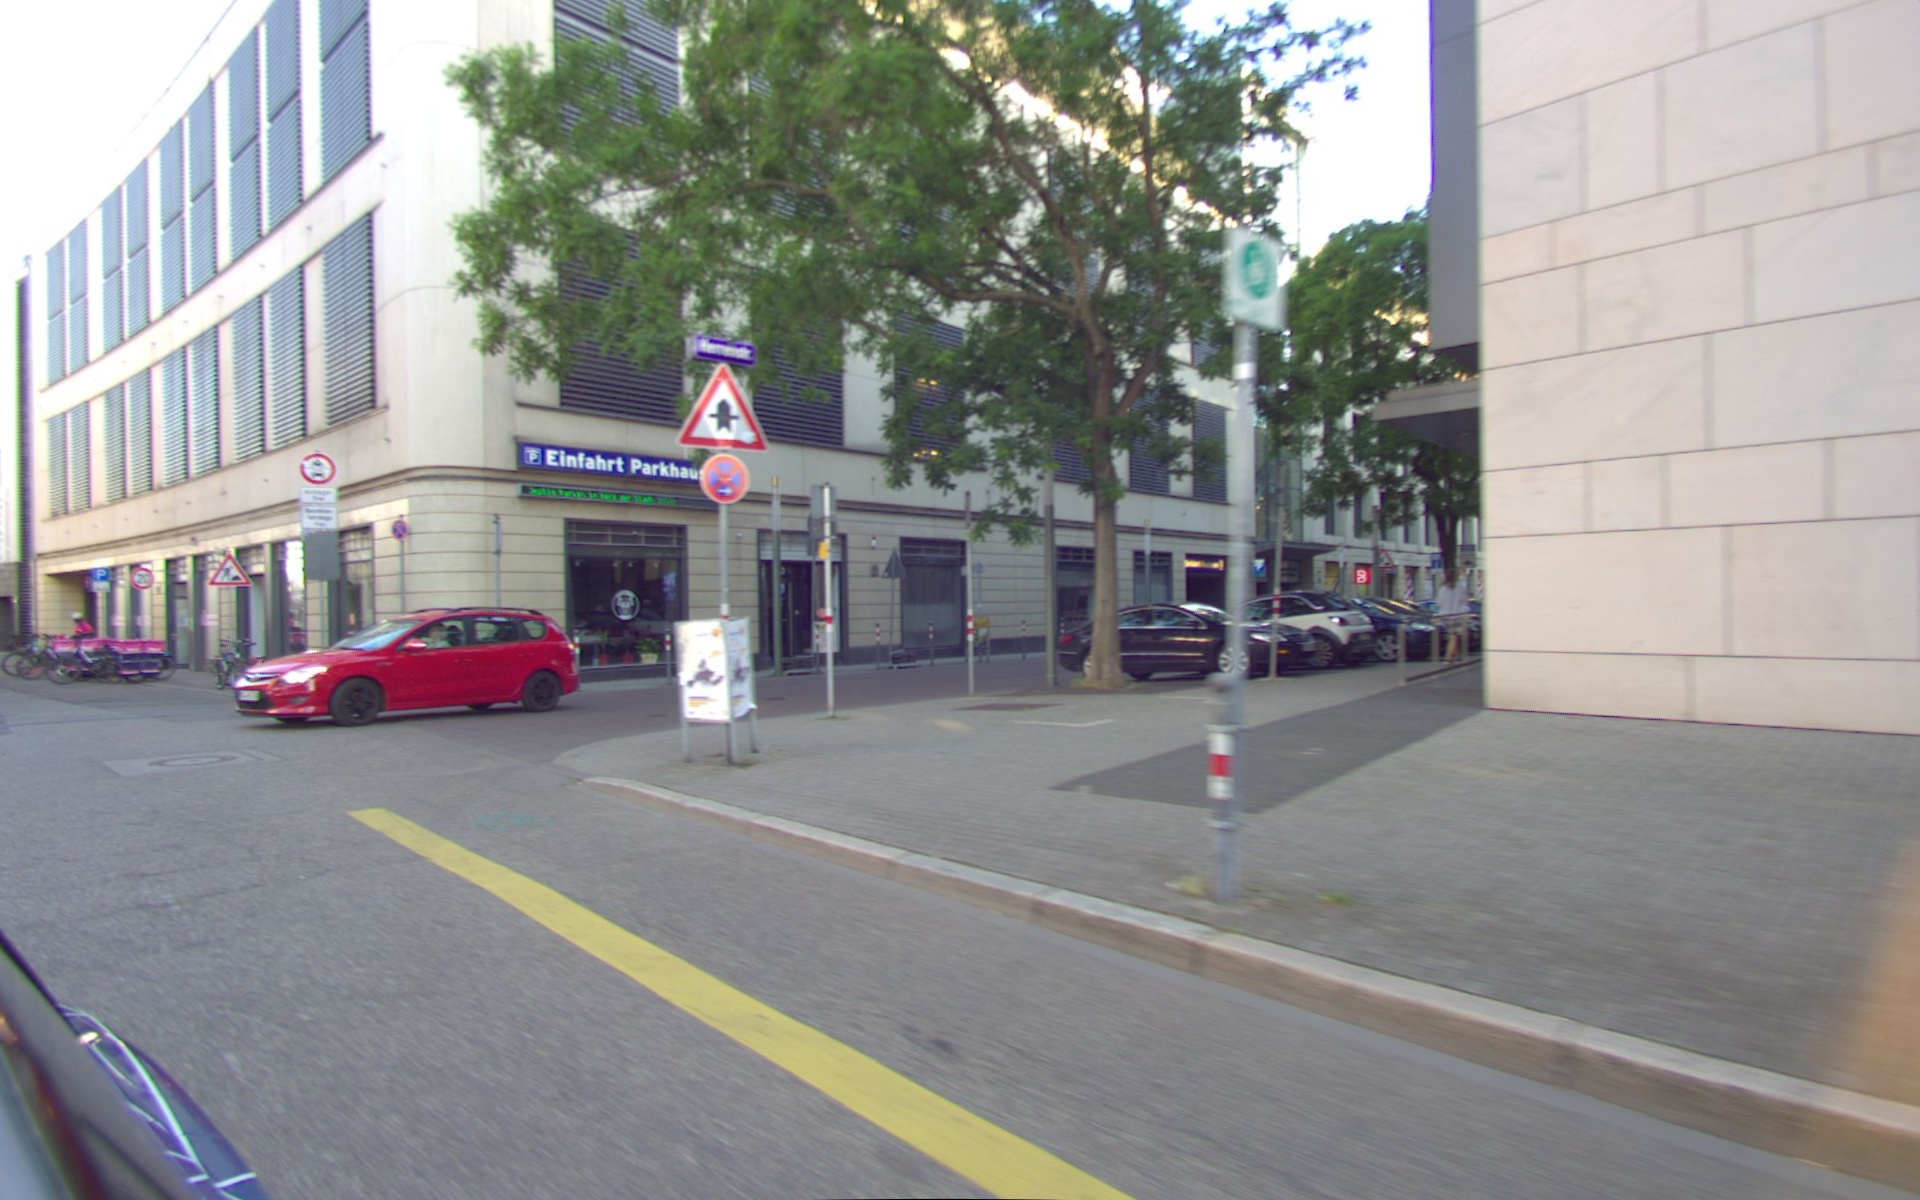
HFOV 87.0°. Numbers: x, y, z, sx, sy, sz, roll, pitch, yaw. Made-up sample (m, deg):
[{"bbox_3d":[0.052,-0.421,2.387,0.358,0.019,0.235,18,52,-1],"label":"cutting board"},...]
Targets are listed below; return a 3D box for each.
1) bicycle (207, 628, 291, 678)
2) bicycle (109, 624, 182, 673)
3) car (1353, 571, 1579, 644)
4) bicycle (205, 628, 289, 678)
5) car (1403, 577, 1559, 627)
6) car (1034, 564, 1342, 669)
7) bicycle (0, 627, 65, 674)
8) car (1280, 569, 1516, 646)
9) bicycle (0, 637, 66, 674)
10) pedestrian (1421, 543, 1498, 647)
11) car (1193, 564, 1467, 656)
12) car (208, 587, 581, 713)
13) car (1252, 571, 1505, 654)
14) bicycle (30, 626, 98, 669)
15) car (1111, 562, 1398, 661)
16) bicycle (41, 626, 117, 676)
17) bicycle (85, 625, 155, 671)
[{"bbox_3d":[-16.133,1.195,22.992,1.493,1.041,0.354,-2,0,-28],"label":"bicycle"},{"bbox_3d":[-21.799,1.275,27.088,1.496,1.259,0.353,0,0,-45],"label":"bicycle"},{"bbox_3d":[13.445,0.247,27.066,5.016,1.511,1.973,-6,-4,40],"label":"car"},{"bbox_3d":[-15.941,1.173,22.654,1.493,1.041,0.354,-2,0,-28],"label":"bicycle"},{"bbox_3d":[20.172,0.109,39.309,5.016,1.511,1.973,-6,-4,40],"label":"car"},{"bbox_3d":[3.983,0.370,18.267,5.016,1.463,1.973,-6,-4,40],"label":"car"},{"bbox_3d":[-26.220,1.406,28.524,1.495,1.259,0.353,0,0,-41],"label":"bicycle"},{"bbox_3d":[10.881,0.240,25.368,5.016,1.511,1.973,-6,-4,40],"label":"car"},{"bbox_3d":[-25.558,1.516,27.792,1.496,0.960,0.353,0,0,-44],"label":"bicycle"},{"bbox_3d":[8.712,-0.076,17.657,0.908,1.719,0.822,-5,-4,43],"label":"pedestrian"},{"bbox_3d":[7.708,0.273,21.408,5.016,1.511,1.973,-6,-4,40],"label":"car"},{"bbox_3d":[-7.678,0.639,14.175,1.822,1.476,4.217,-1,-2,32],"label":"car"},{"bbox_3d":[9.666,0.341,23.639,5.016,1.511,1.973,-6,-4,40],"label":"car"},{"bbox_3d":[-26.841,1.411,30.327,1.494,1.259,0.353,0,0,-37],"label":"bicycle"},{"bbox_3d":[5.693,0.294,20.018,5.016,1.511,1.973,-6,-4,40],"label":"car"},{"bbox_3d":[-23.457,1.346,26.962,1.493,1.259,0.354,0,0,-32],"label":"bicycle"},{"bbox_3d":[-24.137,1.374,29.099,1.493,1.259,0.354,0,0,-32],"label":"bicycle"}]
